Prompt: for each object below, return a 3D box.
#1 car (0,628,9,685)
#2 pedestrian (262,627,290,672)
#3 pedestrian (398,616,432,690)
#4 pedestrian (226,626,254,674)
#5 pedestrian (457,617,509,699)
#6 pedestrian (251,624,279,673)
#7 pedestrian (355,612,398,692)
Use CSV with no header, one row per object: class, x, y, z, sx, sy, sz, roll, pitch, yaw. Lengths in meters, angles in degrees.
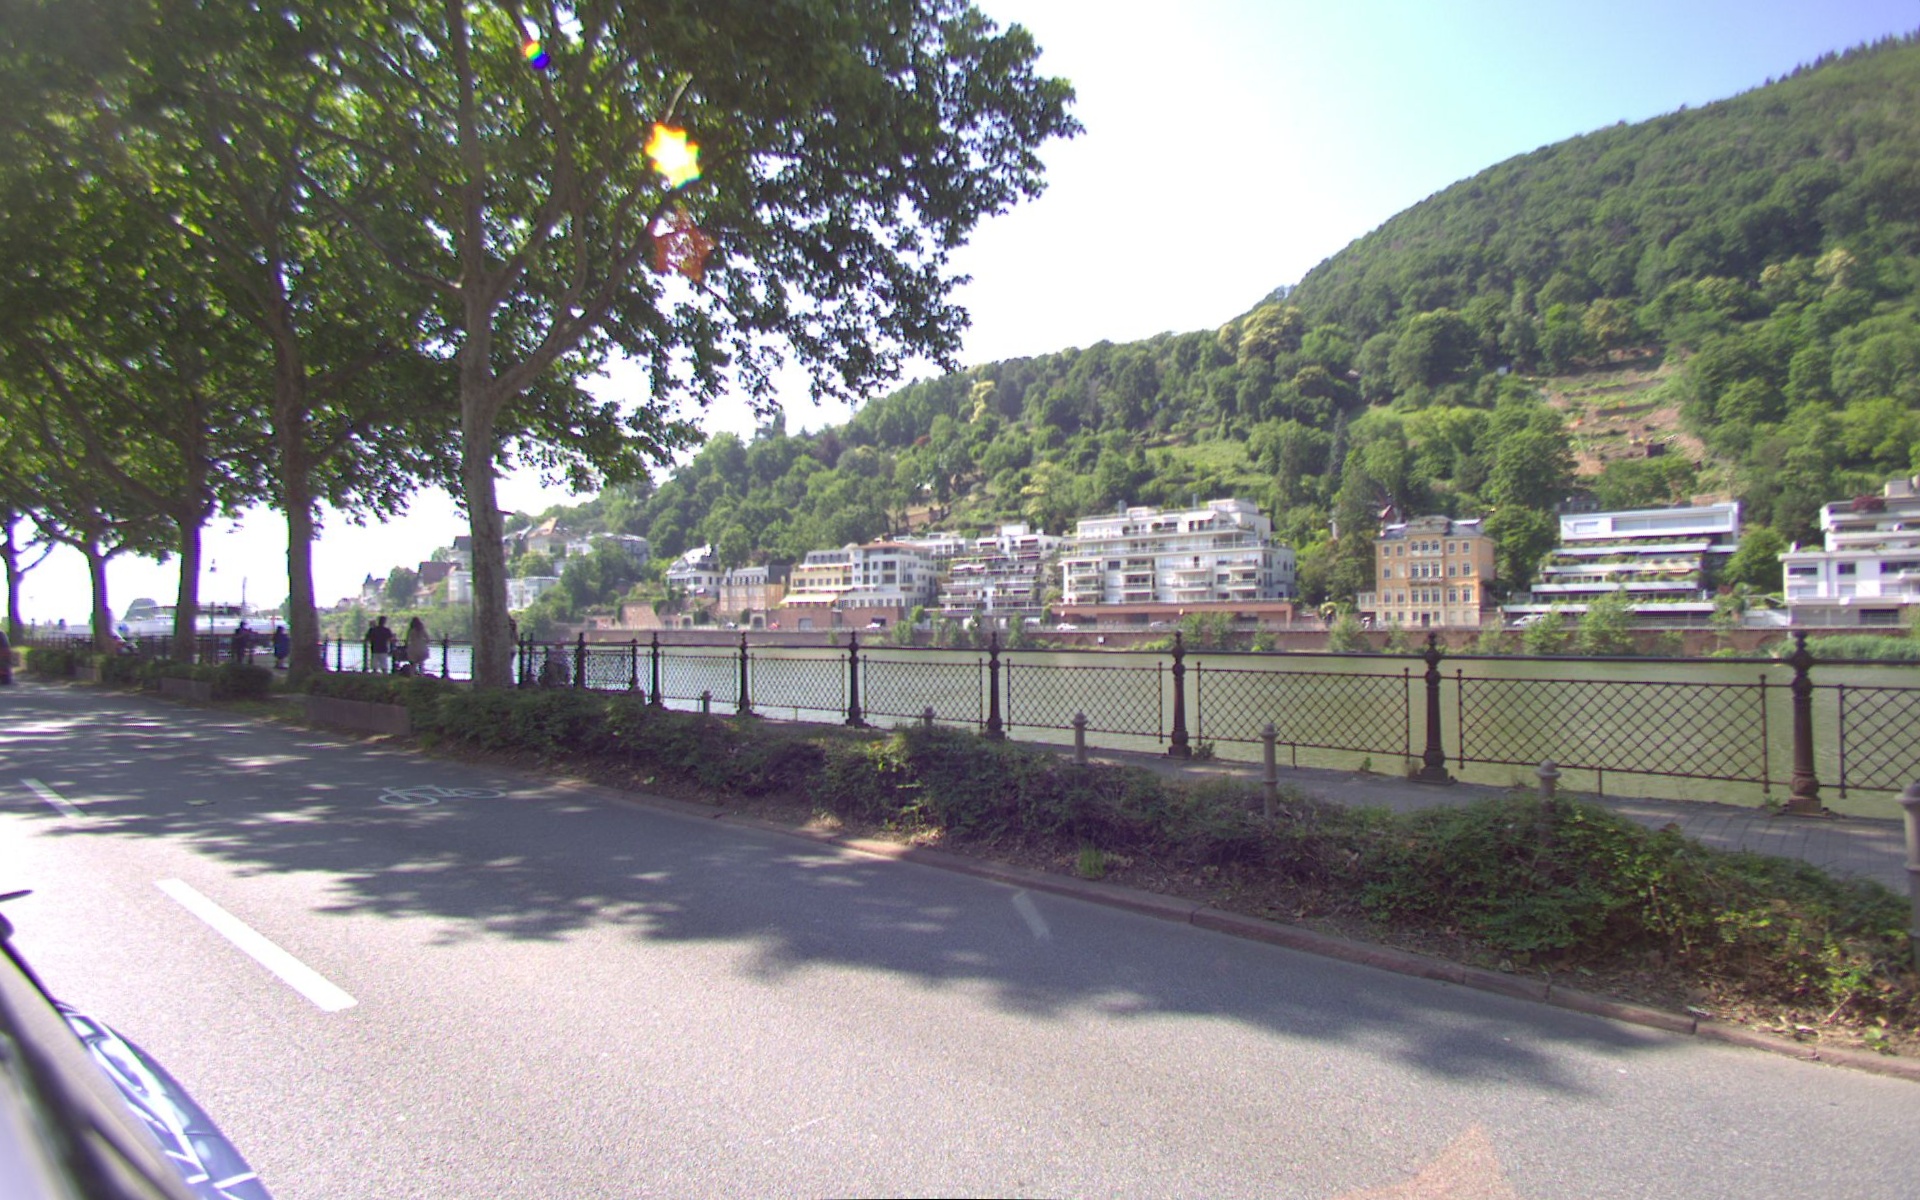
car,-29.741,1.644,30.072,4.088,1.660,1.745,-2,-4,41
pedestrian,-25.079,1.806,37.094,0.705,1.615,0.696,-2,-2,43
pedestrian,-13.317,1.294,24.736,0.592,1.782,0.511,-2,-4,42
pedestrian,-26.649,1.846,37.453,0.705,1.744,0.696,-2,-2,43
pedestrian,-10.401,1.261,22.065,0.873,1.730,0.686,-2,-4,40
pedestrian,-26.178,1.811,38.125,0.705,1.810,0.696,-2,-2,43
pedestrian,-13.995,1.241,24.282,0.805,1.884,0.634,-2,-4,42
